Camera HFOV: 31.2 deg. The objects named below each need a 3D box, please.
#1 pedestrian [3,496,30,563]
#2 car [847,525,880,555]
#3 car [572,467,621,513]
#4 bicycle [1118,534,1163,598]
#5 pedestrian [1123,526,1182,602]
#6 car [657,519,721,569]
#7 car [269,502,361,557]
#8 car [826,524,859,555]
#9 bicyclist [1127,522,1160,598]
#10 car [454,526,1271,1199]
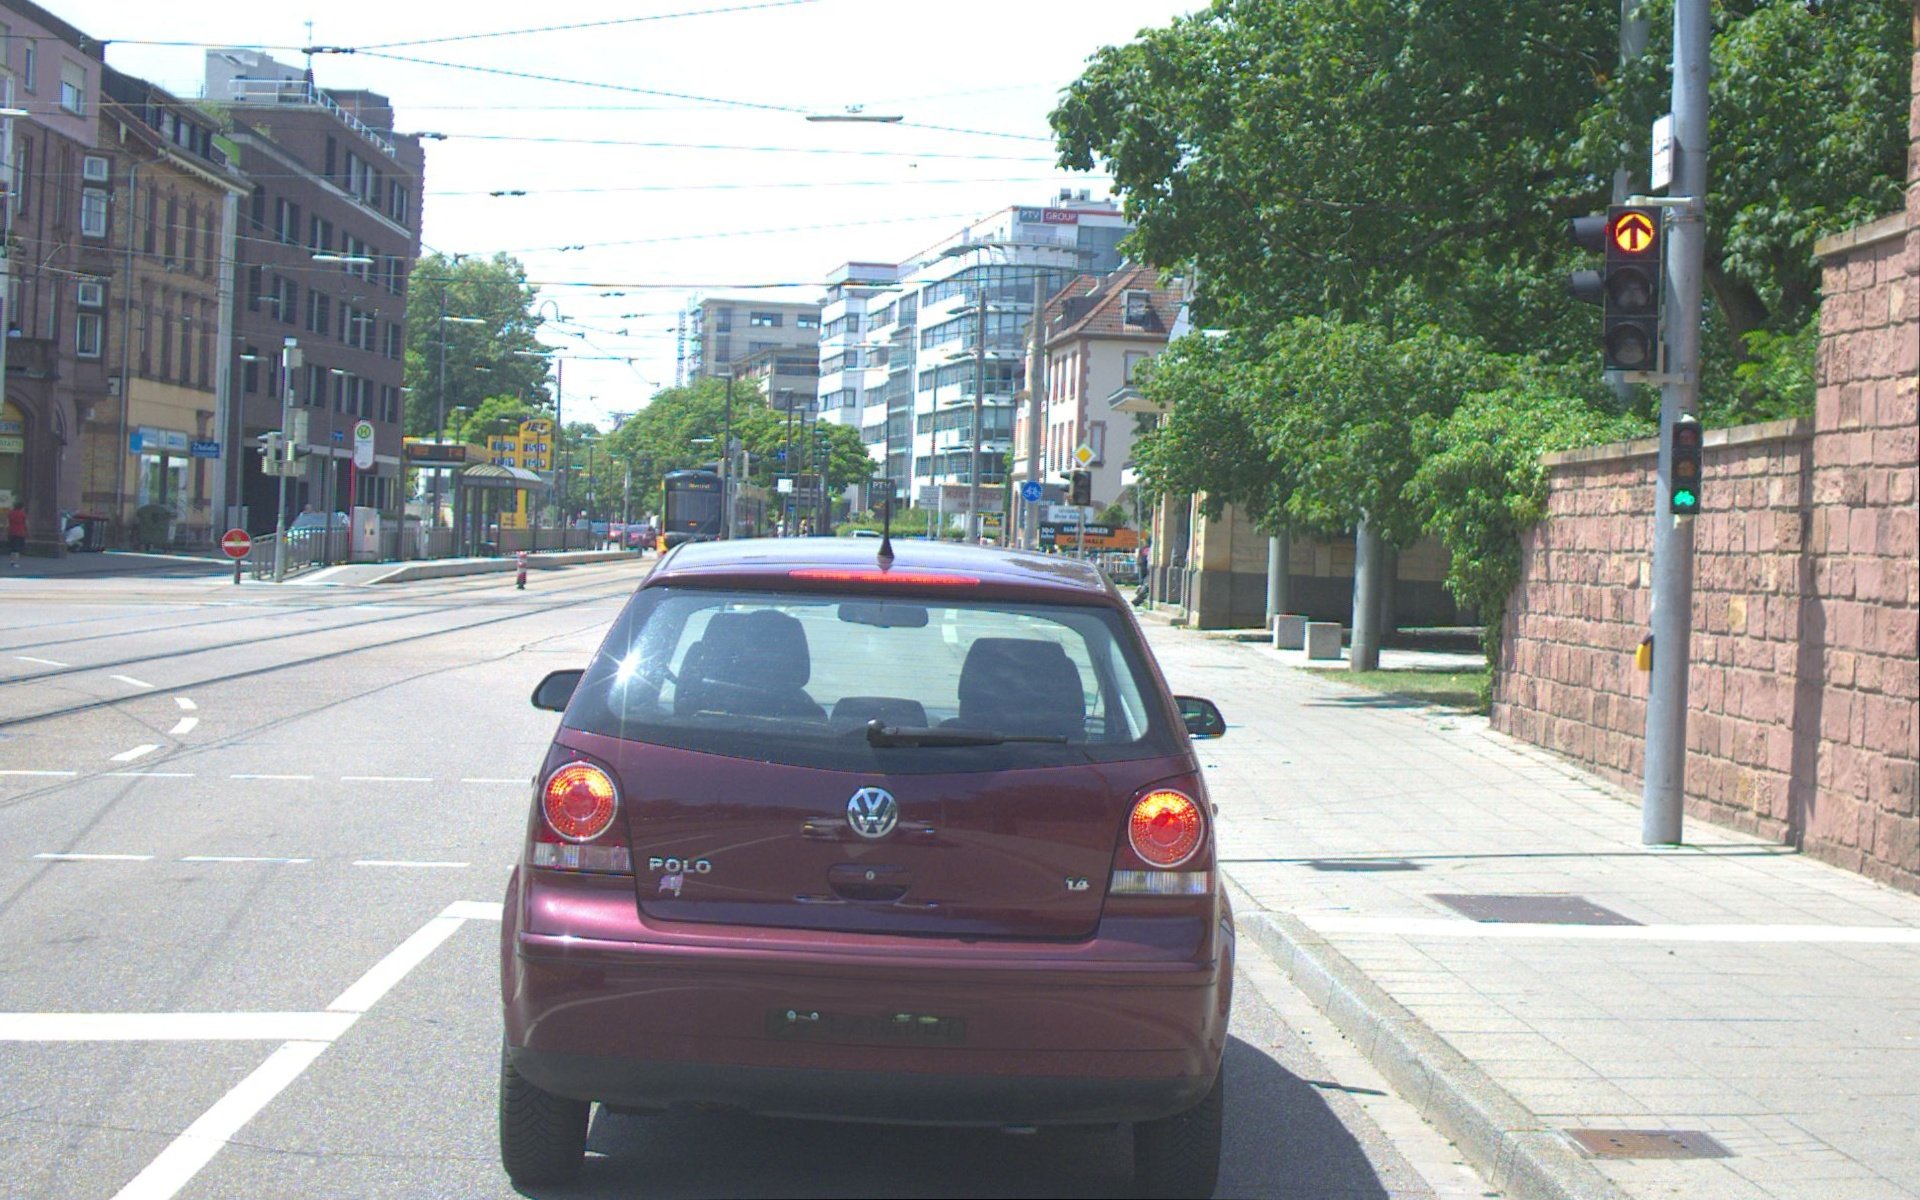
[{"bbox_3d":[-21.849,-1.624,79.650,0.483,1.535,0.538,1,0,-4],"label":"pedestrian"},{"bbox_3d":[-4.666,-2.928,167.123,1.572,1.411,3.720,0,1,-1],"label":"car"},{"bbox_3d":[-16.388,-4.948,155.149,1.735,2.007,4.000,2,1,-1],"label":"car"},{"bbox_3d":[4.414,-0.833,84.370,0.835,1.520,4.000,1,0,-1],"label":"bicycle"},{"bbox_3d":[4.324,-0.813,77.345,0.981,1.655,0.919,2,1,-21],"label":"pedestrian"},{"bbox_3d":[-9.269,-1.912,117.870,1.938,1.635,4.000,1,0,-1],"label":"car"},{"bbox_3d":[-17.912,-1.959,95.600,1.689,1.457,4.000,2,1,1],"label":"car"},{"bbox_3d":[-6.479,-3.313,189.428,1.780,1.617,4.000,1,0,-3],"label":"car"},{"bbox_3d":[4.465,-0.971,83.735,0.721,1.812,0.888,1,0,-1],"label":"bicyclist"},{"bbox_3d":[-0.254,0.567,9.048,1.610,1.458,4.086,2,1,-2],"label":"car"}]
